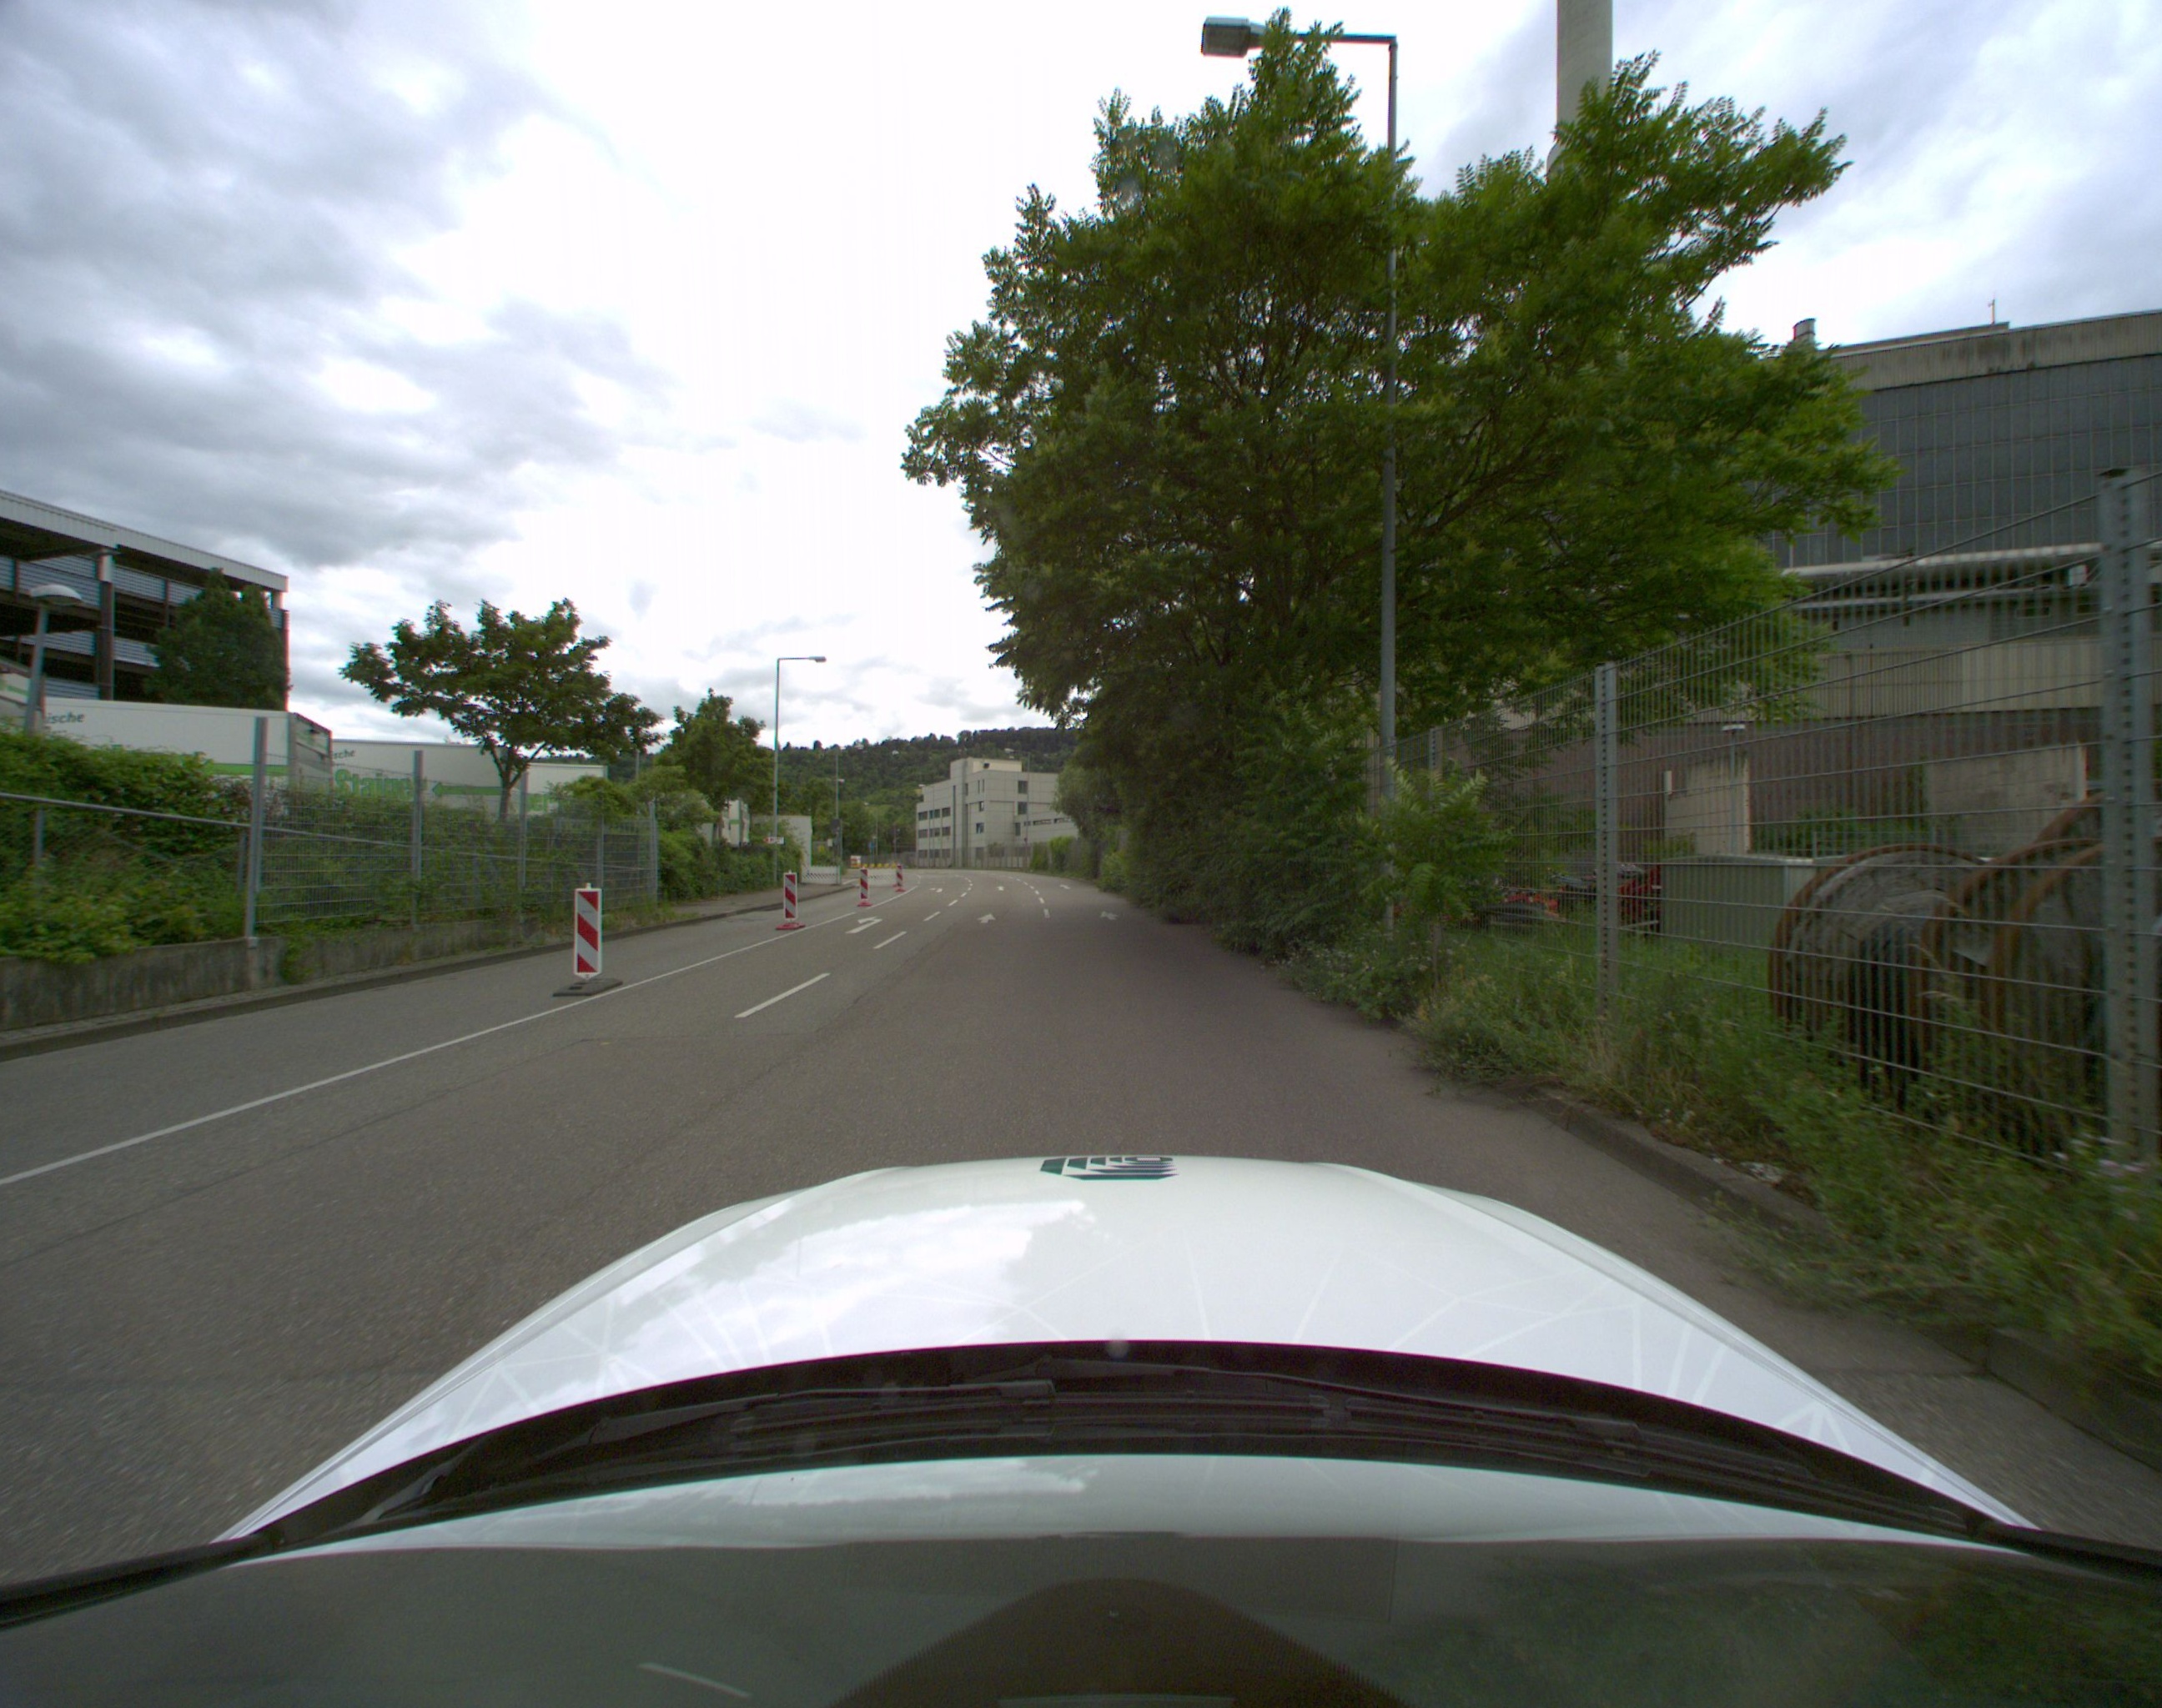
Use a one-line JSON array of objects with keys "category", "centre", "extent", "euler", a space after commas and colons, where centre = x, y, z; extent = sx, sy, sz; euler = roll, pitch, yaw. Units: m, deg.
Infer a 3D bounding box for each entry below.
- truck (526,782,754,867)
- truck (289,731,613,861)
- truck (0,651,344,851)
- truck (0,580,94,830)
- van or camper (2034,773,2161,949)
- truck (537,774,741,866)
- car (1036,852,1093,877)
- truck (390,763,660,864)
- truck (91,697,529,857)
[{"category": "truck", "centre": [-21.977, -1.341, 41.314], "extent": [9.634, 3.991, 3.037], "euler": [0, -2, -14]}, {"category": "truck", "centre": [-19.770, -1.622, 26.432], "extent": [7.889, 3.539, 3.023], "euler": [1, -3, -30]}, {"category": "truck", "centre": [-20.621, -1.946, 16.496], "extent": [7.893, 3.539, 3.021], "euler": [1, -3, -32]}, {"category": "truck", "centre": [-20.067, -2.303, 10.812], "extent": [8.182, 3.539, 3.021], "euler": [1, -3, -32]}, {"category": "van or camper", "centre": [33.642, 0.163, 21.225], "extent": [11.785, 4.531, 5.477], "euler": [0, -2, -4]}, {"category": "truck", "centre": [-20.508, -1.447, 38.353], "extent": [7.856, 3.991, 3.035], "euler": [0, -2, -16]}, {"category": "car", "centre": [-1.779, 1.059, 83.820], "extent": [6.092, 2.263, 2.012], "euler": [2, 0, 43]}, {"category": "truck", "centre": [-20.213, -1.304, 30.339], "extent": [7.889, 3.250, 3.023], "euler": [1, -3, -30]}, {"category": "truck", "centre": [-19.870, -1.769, 21.904], "extent": [7.883, 3.539, 3.025], "euler": [1, -3, -27]}]
